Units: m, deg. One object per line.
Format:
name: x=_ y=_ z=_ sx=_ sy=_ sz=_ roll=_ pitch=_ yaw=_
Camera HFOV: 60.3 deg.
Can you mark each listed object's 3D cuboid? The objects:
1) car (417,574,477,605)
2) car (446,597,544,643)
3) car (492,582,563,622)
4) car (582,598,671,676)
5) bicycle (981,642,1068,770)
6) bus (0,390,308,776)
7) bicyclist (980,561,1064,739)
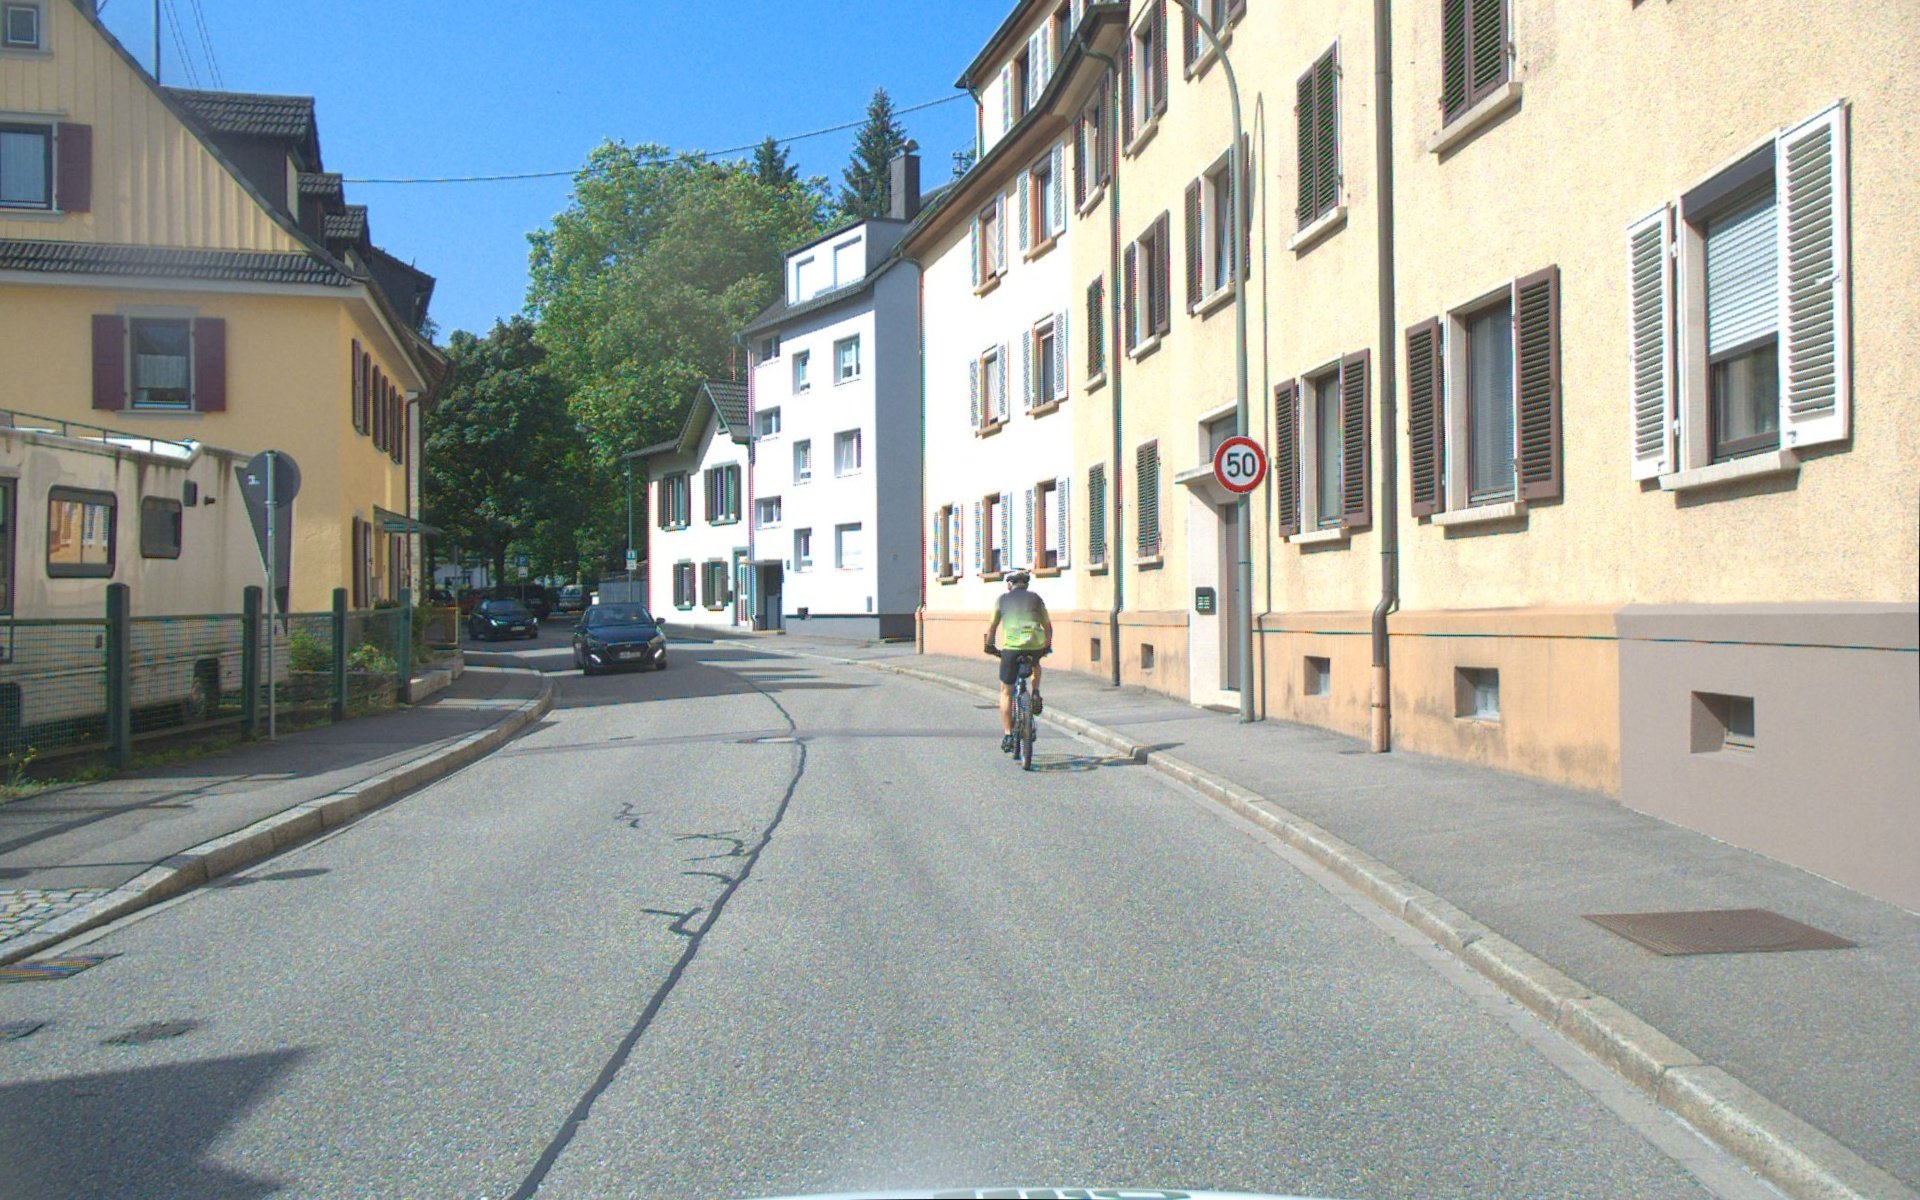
car: x=-27.787 y=-0.601 z=89.503 sx=1.699 sy=1.569 sz=3.941 roll=-2 pitch=2 yaw=-41
car: x=-16.664 y=0.728 z=59.114 sx=1.650 sy=1.474 sz=4.193 roll=-4 pitch=1 yaw=-42
car: x=-20.969 y=0.066 z=80.109 sx=1.812 sy=1.822 sz=3.941 roll=-2 pitch=2 yaw=-41
car: x=-7.362 y=0.767 z=36.402 sx=1.718 sy=1.478 sz=4.015 roll=-4 pitch=1 yaw=-12
bicycle: x=0.565 y=0.937 z=15.030 sx=0.684 sy=1.053 sz=1.470 roll=0 pitch=0 yaw=-2
bus: x=-9.757 y=-0.173 z=17.282 sx=2.764 sy=3.284 sz=9.029 roll=1 pitch=0 yaw=-4
bicyclist: x=0.554 y=0.444 z=15.009 sx=0.672 sy=1.558 sz=0.715 roll=-1 pitch=0 yaw=-2
